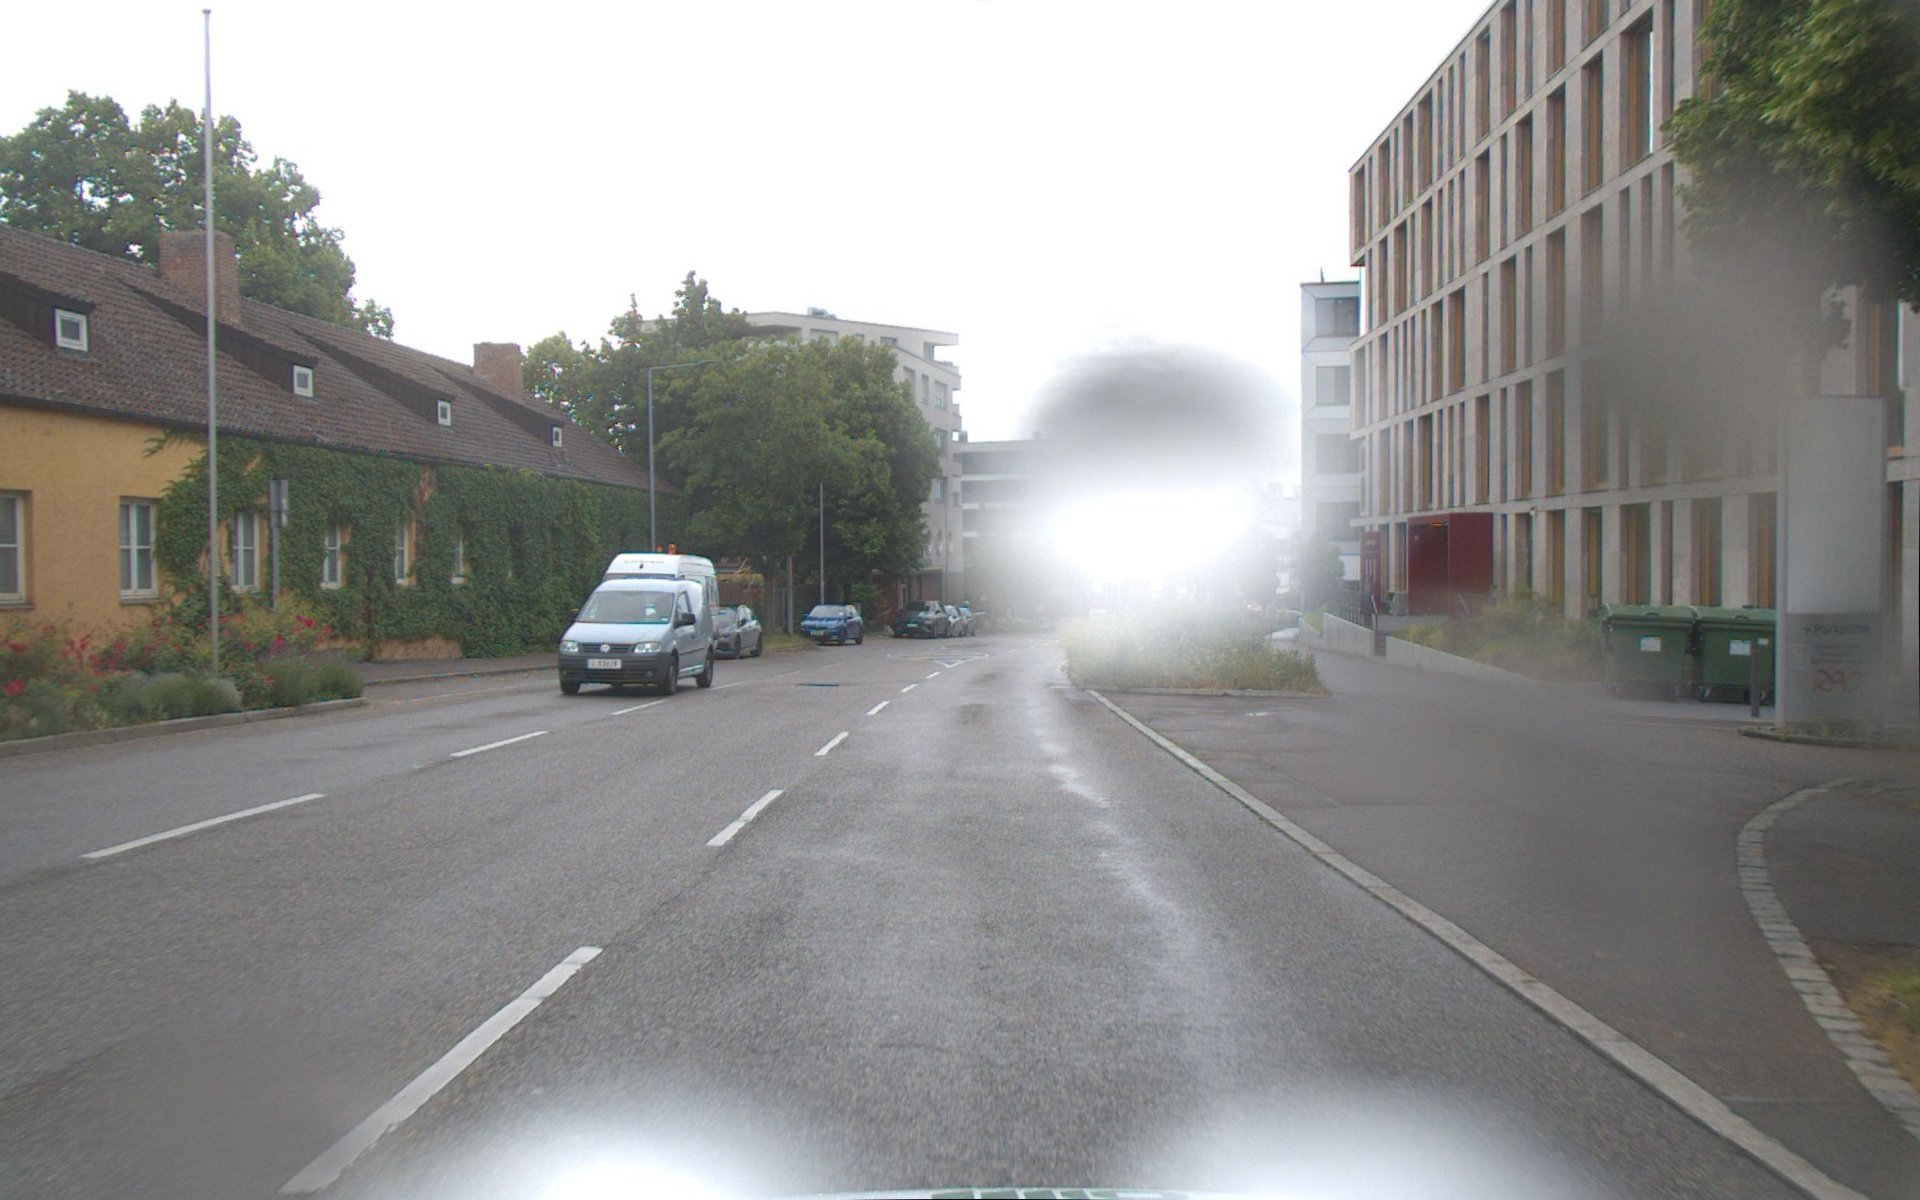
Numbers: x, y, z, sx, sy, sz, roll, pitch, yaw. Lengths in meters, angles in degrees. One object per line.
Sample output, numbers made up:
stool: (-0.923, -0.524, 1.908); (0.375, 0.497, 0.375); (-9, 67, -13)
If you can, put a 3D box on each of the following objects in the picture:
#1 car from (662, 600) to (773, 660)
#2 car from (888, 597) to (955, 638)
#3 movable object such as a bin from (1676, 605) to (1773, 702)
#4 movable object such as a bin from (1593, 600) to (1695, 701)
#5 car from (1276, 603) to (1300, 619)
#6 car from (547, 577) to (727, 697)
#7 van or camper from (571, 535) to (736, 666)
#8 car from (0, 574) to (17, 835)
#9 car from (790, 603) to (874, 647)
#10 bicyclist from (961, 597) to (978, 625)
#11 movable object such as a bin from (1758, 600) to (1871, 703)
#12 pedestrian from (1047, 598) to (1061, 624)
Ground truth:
car: (-6.620, 0.811, 45.617); (1.951, 1.539, 4.426); (1, 0, 6)
car: (-1.756, 0.823, 77.847); (1.951, 1.818, 5.415); (1, 0, 11)
movable object such as a bin: (12.026, 0.833, 26.073); (1.074, 1.424, 1.150); (4, 0, 11)
movable object such as a bin: (10.788, 0.790, 26.136); (1.220, 1.483, 1.112); (4, 0, 12)
car: (32.194, 1.077, 162.306); (1.515, 1.504, 3.658); (1, 1, 25)
car: (-5.102, 0.558, 26.745); (1.855, 1.735, 4.510); (1, 0, 2)
van or camper: (-7.125, -0.012, 39.225); (2.291, 2.813, 6.146); (1, 0, 5)
car: (-6.423, 0.568, 7.303); (1.843, 1.483, 4.470); (1, 0, 1)
car: (-4.652, 0.902, 60.909); (1.951, 1.496, 4.189); (1, 0, 12)
bicyclist: (0.527, 0.595, 92.075); (0.784, 1.549, 1.202); (1, 0, 5)
movable object such as a bin: (13.291, 0.780, 25.779); (1.170, 1.530, 1.389); (1, 0, 9)
pedestrian: (7.401, 0.882, 129.819); (1.033, 2.049, 1.100); (1, -1, 3)
